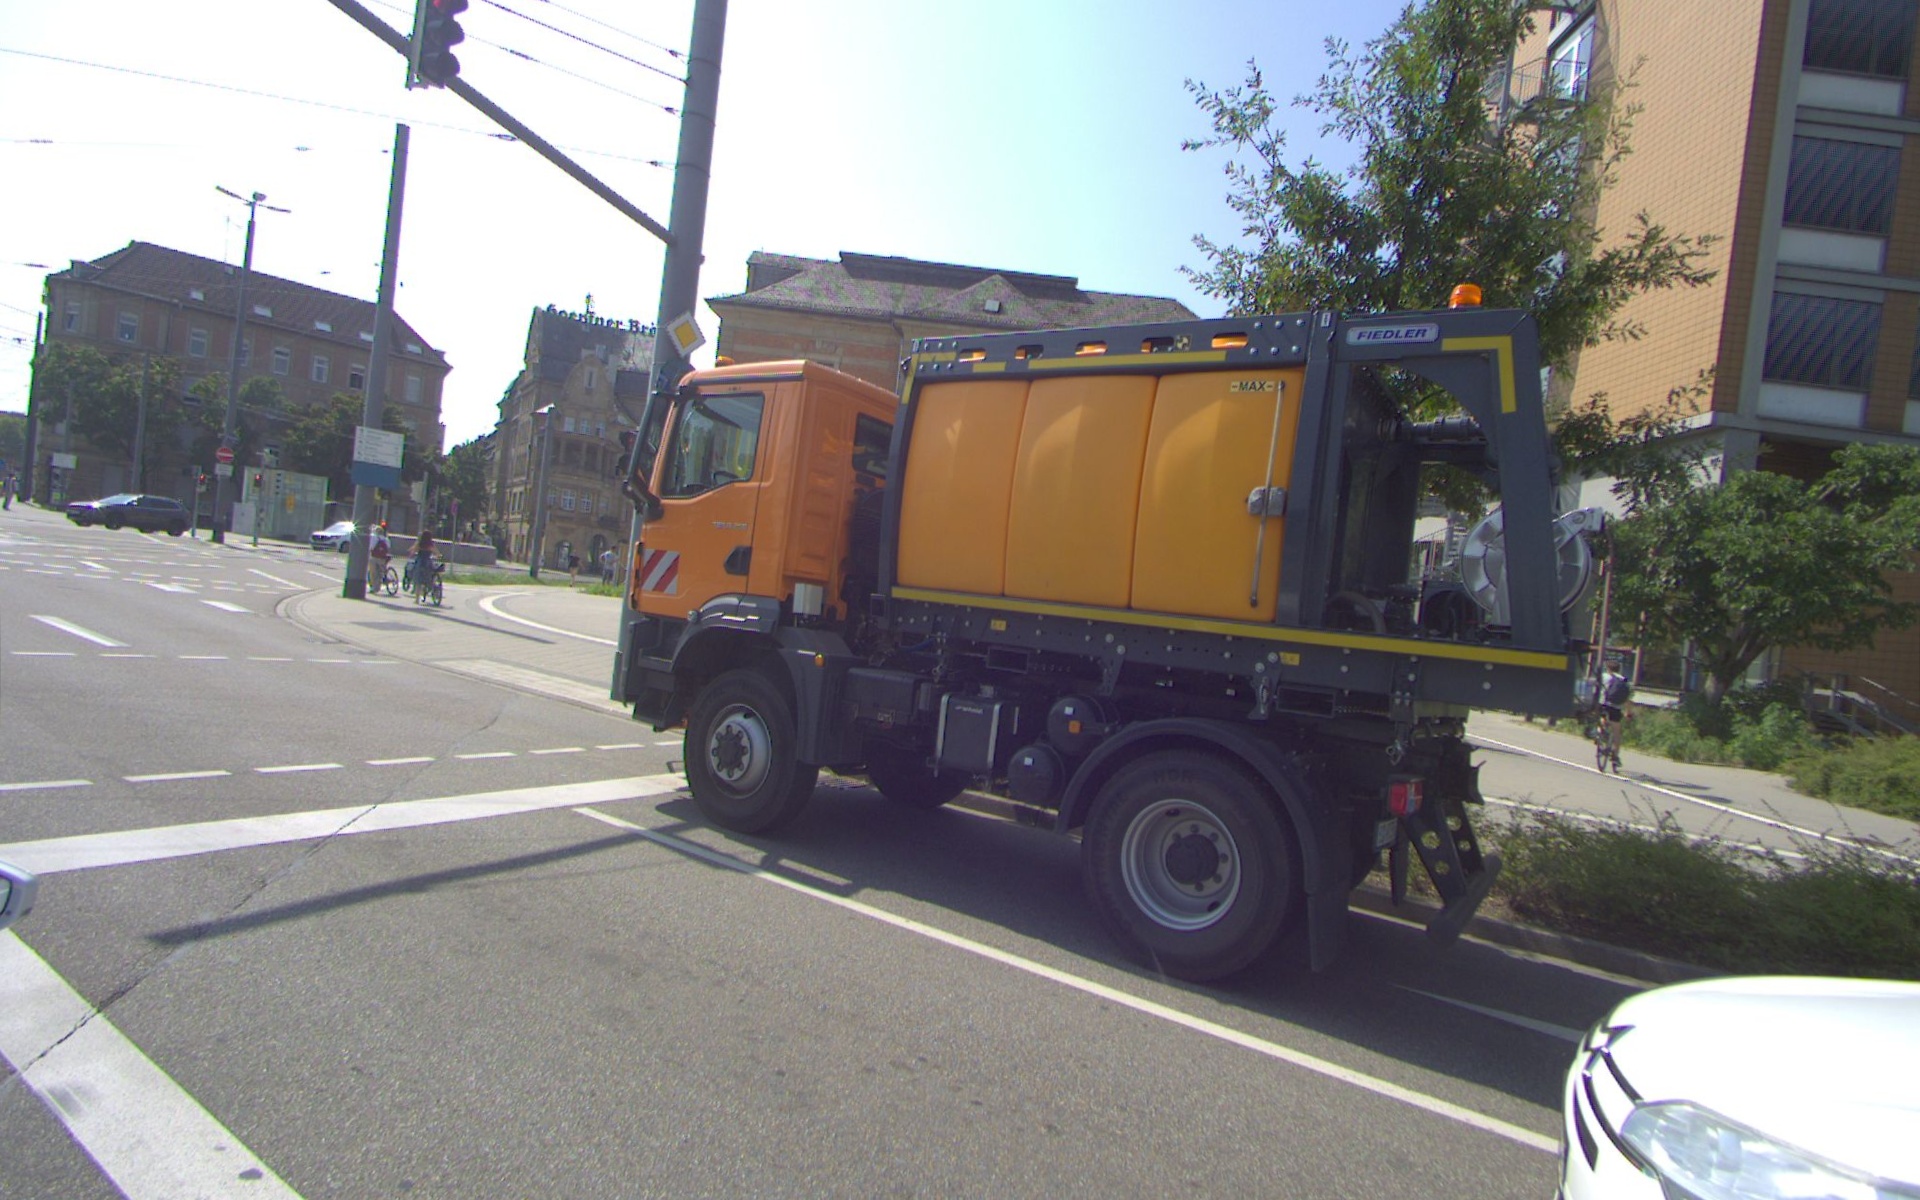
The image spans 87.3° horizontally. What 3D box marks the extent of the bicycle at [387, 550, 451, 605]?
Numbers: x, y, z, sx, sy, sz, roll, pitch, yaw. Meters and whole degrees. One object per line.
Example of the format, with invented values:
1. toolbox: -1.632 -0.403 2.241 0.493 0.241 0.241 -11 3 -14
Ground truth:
1. bicycle: -12.303 -0.513 22.857 1.795 1.068 0.492 7 1 37

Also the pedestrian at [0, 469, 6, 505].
1. pedestrian: -82.613 -9.743 86.167 0.960 3.055 0.983 7 1 38

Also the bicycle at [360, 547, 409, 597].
1. bicycle: -13.915 -0.682 24.309 1.632 1.068 0.535 7 1 45

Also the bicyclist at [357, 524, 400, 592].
1. bicyclist: -14.157 -1.027 24.490 0.702 1.537 0.626 7 1 44

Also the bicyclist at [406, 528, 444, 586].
1. bicyclist: -14.010 -1.125 26.326 0.882 1.410 0.529 7 1 44

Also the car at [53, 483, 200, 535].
1. car: -36.275 -3.938 43.961 1.962 1.523 4.628 7 0 12

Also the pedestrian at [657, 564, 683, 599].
1. pedestrian: -12.562 -0.789 43.592 0.679 1.417 0.767 7 1 7

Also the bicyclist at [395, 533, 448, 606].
1. bicyclist: -12.177 -0.691 22.757 0.653 1.537 0.734 7 1 36

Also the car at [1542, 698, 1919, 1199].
1. car: 3.303 1.177 1.075 4.533 1.446 1.771 7 0 32

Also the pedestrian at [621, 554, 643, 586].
1. pedestrian: -13.531 -1.237 41.453 0.659 1.229 0.523 6 1 -30

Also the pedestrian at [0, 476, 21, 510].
1. pedestrian: -48.557 -5.464 51.301 0.562 1.623 0.701 7 1 24

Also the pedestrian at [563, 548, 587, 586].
1. pedestrian: -17.068 -1.468 44.611 0.727 1.595 0.787 6 1 -14

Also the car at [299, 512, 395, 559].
1. car: -34.129 -3.560 56.167 1.962 2.038 4.627 7 0 7

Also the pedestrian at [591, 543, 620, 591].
1. pedestrian: -13.637 -1.247 38.740 0.808 1.746 0.546 6 1 -9

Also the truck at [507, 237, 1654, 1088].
1. truck: 0.268 0.026 6.656 6.751 3.172 2.495 7 -1 34

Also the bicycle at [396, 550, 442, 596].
1. bicycle: -14.319 -0.728 26.590 1.632 1.068 0.535 7 1 45
